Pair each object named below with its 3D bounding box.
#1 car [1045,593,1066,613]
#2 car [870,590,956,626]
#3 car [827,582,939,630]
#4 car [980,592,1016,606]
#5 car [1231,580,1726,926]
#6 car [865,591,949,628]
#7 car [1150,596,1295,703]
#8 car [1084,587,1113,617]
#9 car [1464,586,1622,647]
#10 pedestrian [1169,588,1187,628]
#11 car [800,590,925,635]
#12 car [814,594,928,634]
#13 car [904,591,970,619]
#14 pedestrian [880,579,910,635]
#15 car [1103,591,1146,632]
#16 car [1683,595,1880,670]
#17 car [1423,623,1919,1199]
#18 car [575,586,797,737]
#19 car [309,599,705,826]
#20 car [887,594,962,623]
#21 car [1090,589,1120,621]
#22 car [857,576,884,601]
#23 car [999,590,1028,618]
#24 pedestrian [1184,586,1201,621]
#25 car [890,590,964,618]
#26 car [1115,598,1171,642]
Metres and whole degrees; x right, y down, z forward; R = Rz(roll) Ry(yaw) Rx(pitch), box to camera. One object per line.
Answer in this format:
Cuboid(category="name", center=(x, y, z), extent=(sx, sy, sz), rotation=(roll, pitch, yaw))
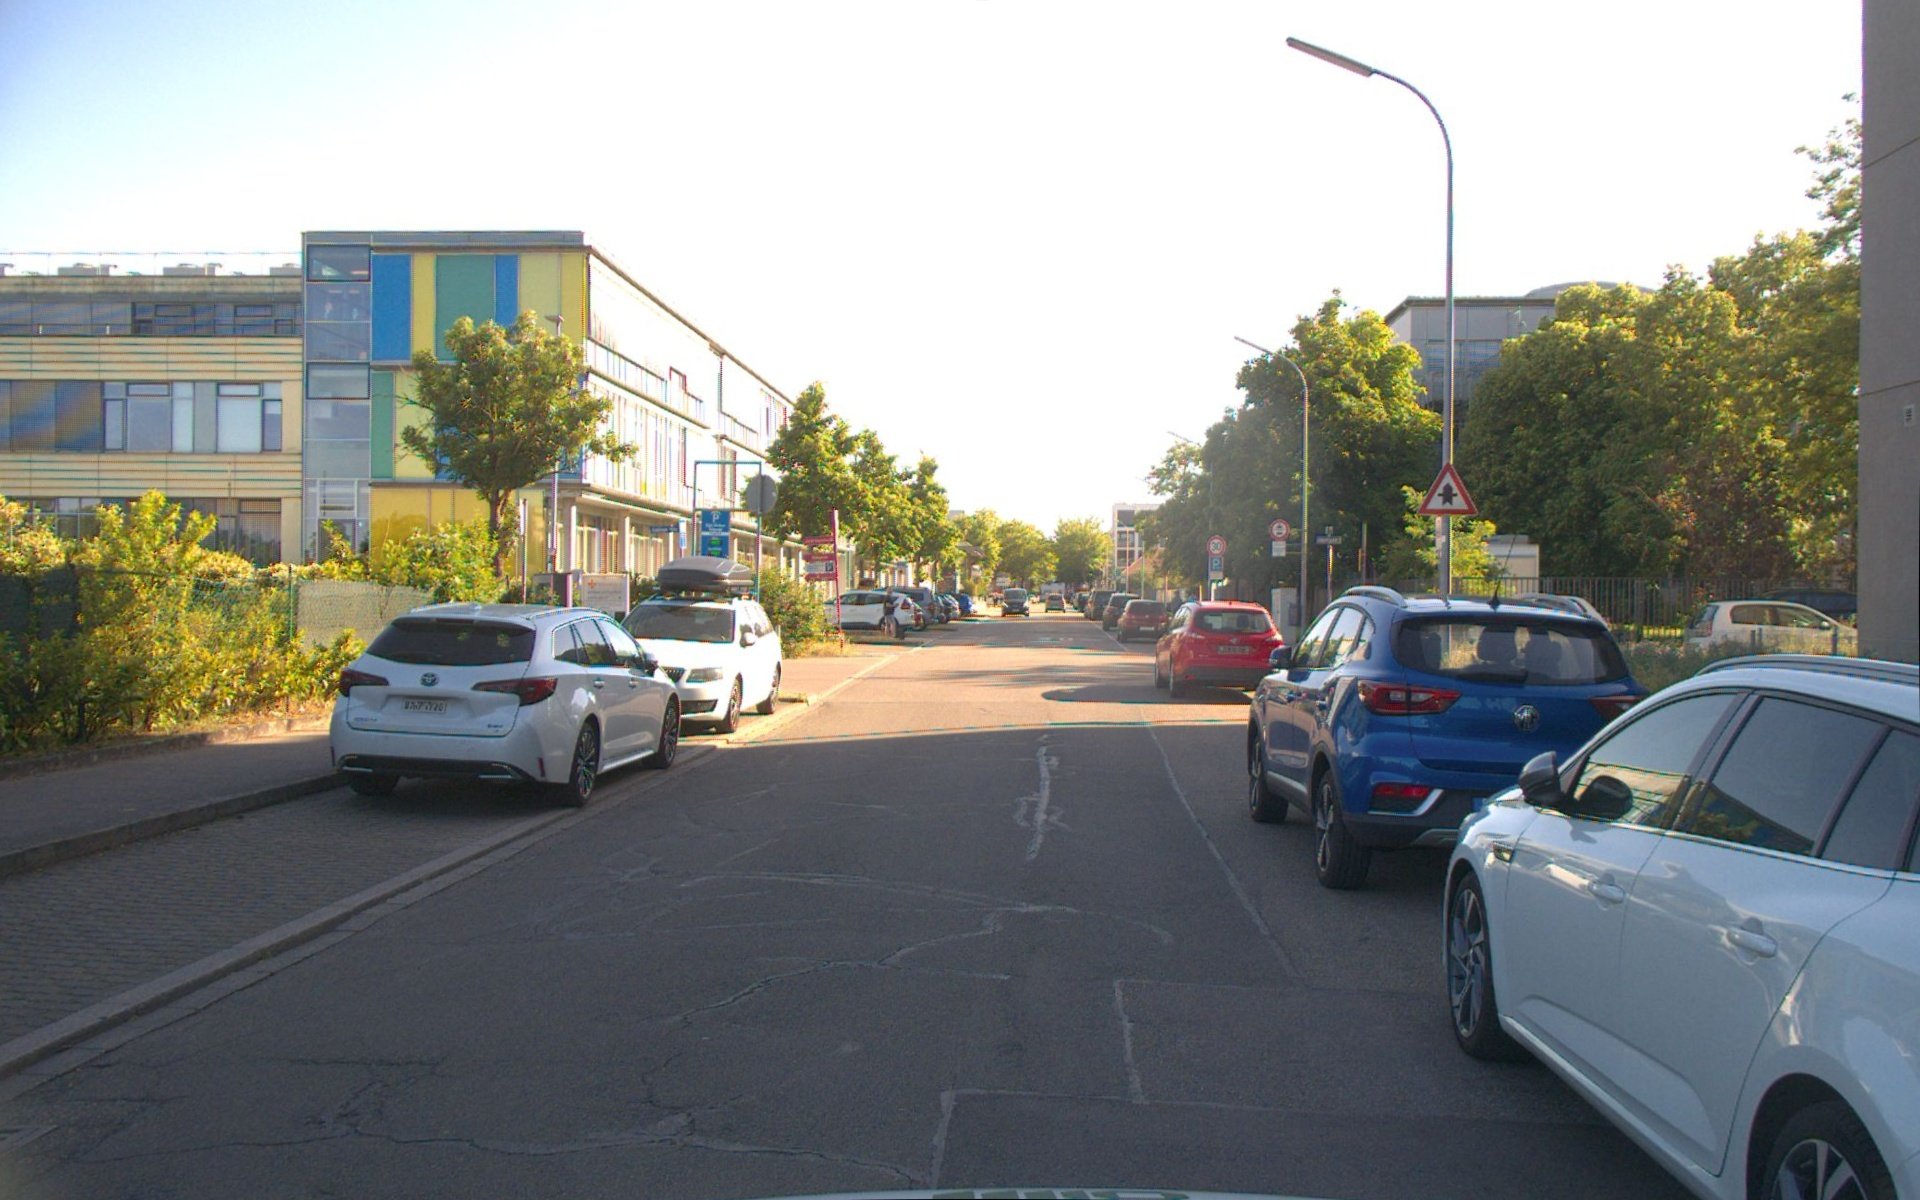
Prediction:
Cuboid(category="car", center=(7.764, 0.260, 134.772), extent=(1.707, 1.570, 4.002), rotation=(1, 0, 3))
Cuboid(category="car", center=(-2.288, 0.393, 81.782), extent=(4.160, 1.640, 2.048), rotation=(2, 0, -1))
Cuboid(category="car", center=(-3.326, 0.249, 71.871), extent=(4.643, 1.897, 1.828), rotation=(2, 0, 3))
Cuboid(category="car", center=(4.325, -0.105, 188.054), extent=(3.903, 1.546, 2.001), rotation=(0, -1, 3))
Cuboid(category="car", center=(2.922, 0.742, 10.433), extent=(1.779, 1.627, 4.629), rotation=(2, 0, 2))
Cuboid(category="car", center=(-2.522, 0.438, 78.834), extent=(3.906, 1.635, 1.872), rotation=(2, 0, -1))
Cuboid(category="car", center=(4.160, 0.734, 26.807), extent=(1.781, 1.526, 4.453), rotation=(2, 0, 3))
Cuboid(category="car", center=(9.412, 0.137, 112.589), extent=(1.835, 2.013, 4.002), rotation=(-1, 0, 3))
Cuboid(category="car", center=(14.722, 0.398, 41.881), extent=(3.472, 1.512, 1.601), rotation=(0, 0, 4))
Cuboid(category="pedestrian", center=(9.829, 0.347, 74.584), extent=(0.702, 1.789, 0.885), rotation=(-2, 0, 4))
Cuboid(category="car", center=(-3.720, 0.476, 63.573), extent=(4.514, 1.680, 1.869), rotation=(1, 0, 6))
Cuboid(category="car", center=(-3.534, 0.543, 66.223), extent=(4.341, 1.527, 1.828), rotation=(1, 0, 3))
Cuboid(category="car", center=(-1.433, 0.296, 104.571), extent=(4.128, 1.631, 1.872), rotation=(2, 0, -1))
Cuboid(category="pedestrian", center=(-2.208, 0.232, 56.120), extent=(0.839, 1.874, 0.826), rotation=(2, 0, 5))
Cuboid(category="car", center=(7.432, 0.486, 75.175), extent=(1.774, 1.695, 4.595), rotation=(2, 1, 4))
Cuboid(category="car", center=(16.815, 0.640, 33.989), extent=(3.255, 1.484, 1.716), rotation=(0, 0, 8))
Cuboid(category="car", center=(2.539, 0.851, 4.138), extent=(1.708, 1.454, 4.588), rotation=(2, 0, 4))
Cuboid(category="car", center=(-3.155, 0.651, 19.944), extent=(1.660, 1.540, 4.519), rotation=(2, 0, 3))
Cuboid(category="car", center=(-3.449, 0.763, 13.564), extent=(1.710, 1.471, 4.543), rotation=(2, 0, 3))
Cuboid(category="car", center=(-1.866, 0.447, 87.632), extent=(3.906, 1.382, 1.743), rotation=(2, 0, -1))
Cuboid(category="car", center=(8.777, 0.304, 100.111), extent=(1.696, 1.862, 3.907), rotation=(0, 0, 3))
Cuboid(category="car", center=(-7.777, -1.019, 143.779), extent=(1.952, 2.049, 4.001), rotation=(0, -1, 3))
Cuboid(category="car", center=(3.727, 0.255, 114.277), extent=(1.914, 1.900, 5.257), rotation=(0, 0, 2))
Cuboid(category="pedestrian", center=(11.699, 0.177, 83.294), extent=(0.683, 1.690, 0.752), rotation=(-2, 0, 3))
Cuboid(category="car", center=(-1.866, 0.220, 94.599), extent=(4.128, 1.487, 1.872), rotation=(2, 0, -1))
Cuboid(category="car", center=(6.506, 0.680, 59.154), extent=(1.684, 1.480, 4.653), rotation=(1, 0, 3))
